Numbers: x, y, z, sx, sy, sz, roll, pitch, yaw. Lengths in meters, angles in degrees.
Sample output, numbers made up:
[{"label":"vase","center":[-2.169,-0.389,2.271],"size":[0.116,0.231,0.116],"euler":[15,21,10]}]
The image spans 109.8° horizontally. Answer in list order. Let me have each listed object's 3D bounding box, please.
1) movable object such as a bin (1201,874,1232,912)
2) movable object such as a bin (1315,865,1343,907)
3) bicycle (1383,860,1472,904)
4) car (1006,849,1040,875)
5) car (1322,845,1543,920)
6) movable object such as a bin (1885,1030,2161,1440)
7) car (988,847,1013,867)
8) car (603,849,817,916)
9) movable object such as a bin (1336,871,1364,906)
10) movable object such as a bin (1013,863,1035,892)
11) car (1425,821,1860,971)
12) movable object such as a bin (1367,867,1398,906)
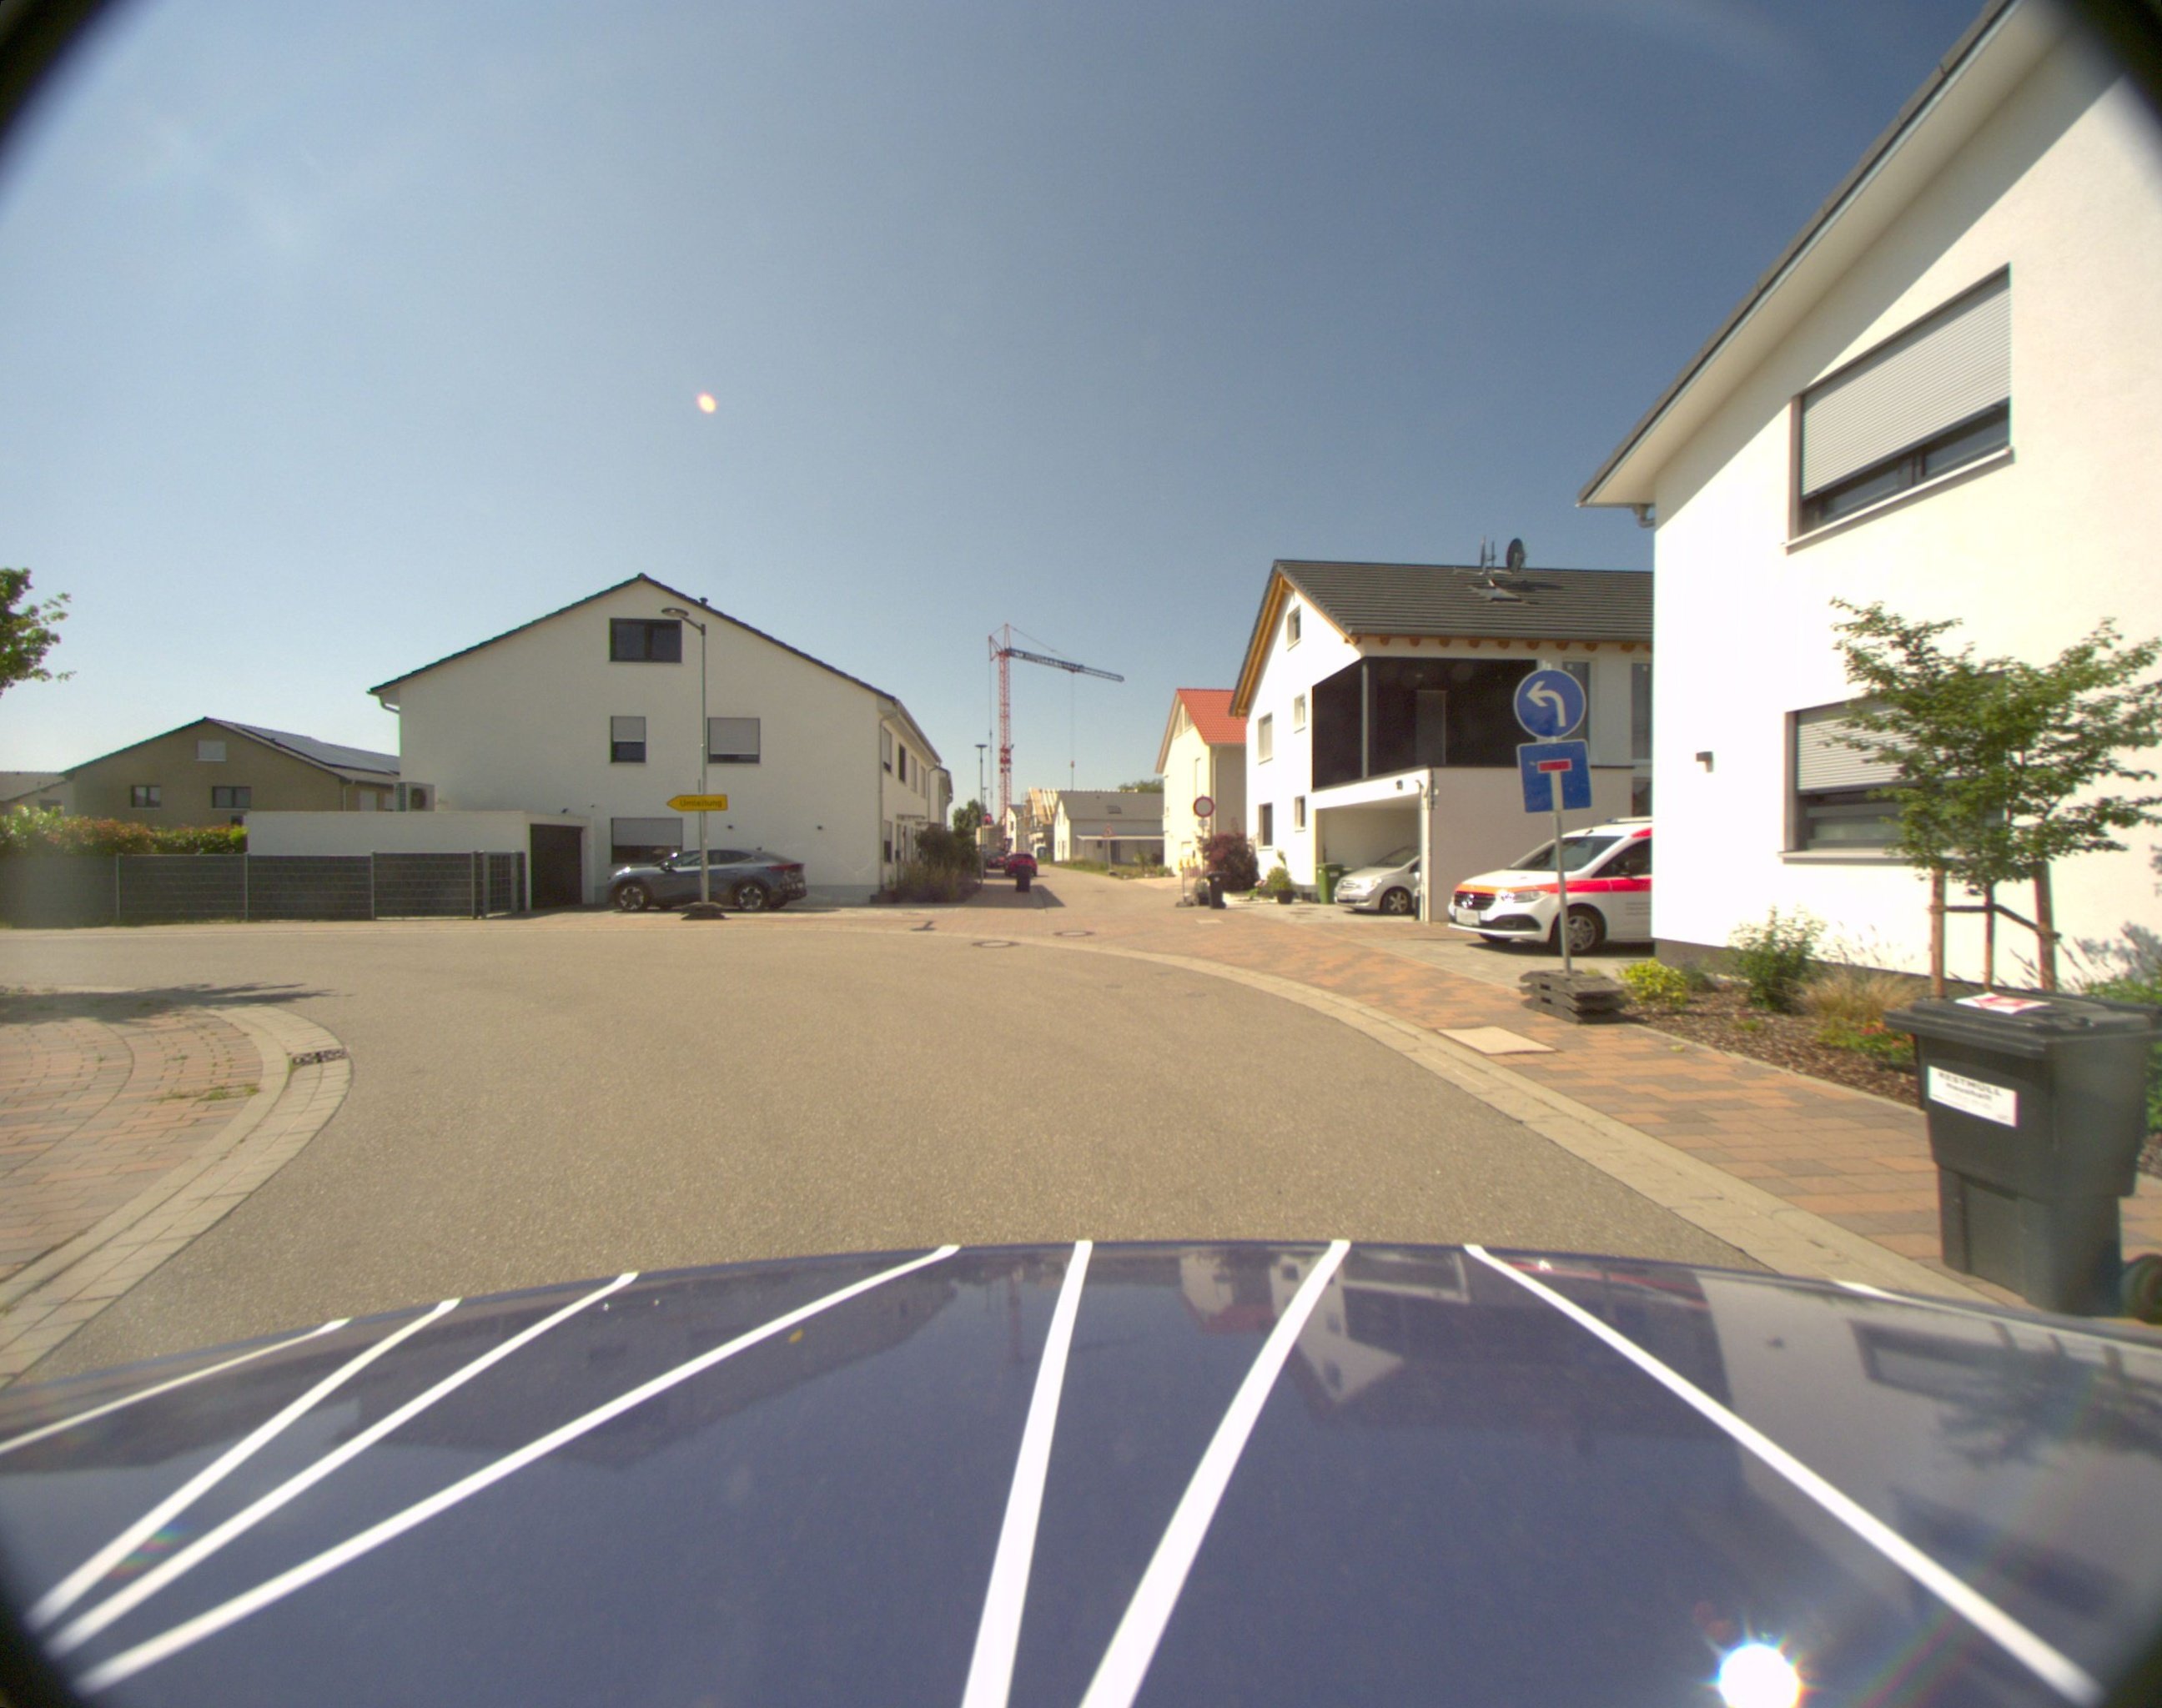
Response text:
[{"label":"movable object such as a bin","center":[3.412,0.971,19.145],"size":[0.618,0.931,0.564],"euler":[-1,0,-6]},{"label":"movable object such as a bin","center":[6.520,0.825,20.005],"size":[0.500,1.085,0.601],"euler":[-1,-1,-6]},{"label":"bicycle","center":[9.496,0.755,20.833],"size":[2.133,1.120,0.778],"euler":[0,2,-10]},{"label":"car","center":[-3.602,0.475,46.695],"size":[1.912,1.470,3.997],"euler":[0,1,-6]},{"label":"car","center":[7.719,0.594,16.879],"size":[4.165,1.553,1.744],"euler":[0,1,-7]},{"label":"movable object such as a bin","center":[2.983,1.069,2.273],"size":[0.625,0.943,0.499],"euler":[-1,2,-6]},{"label":"car","center":[-7.037,0.215,66.044],"size":[1.804,1.609,3.671],"euler":[-1,1,-12]},{"label":"car","center":[-9.071,0.670,18.912],"size":[4.349,1.549,1.960],"euler":[0,0,-4]},{"label":"movable object such as a bin","center":[7.106,0.904,20.101],"size":[0.500,0.900,0.561],"euler":[-1,2,-6]},{"label":"movable object such as a bin","center":[-2.195,0.898,29.063],"size":[0.824,1.058,0.589],"euler":[-1,2,-6]},{"label":"car","center":[7.604,0.518,10.600],"size":[4.750,1.864,1.937],"euler":[0,1,-4]},{"label":"movable object such as a bin","center":[8.030,0.852,20.265],"size":[0.500,0.981,0.676],"euler":[-1,2,-6]}]
